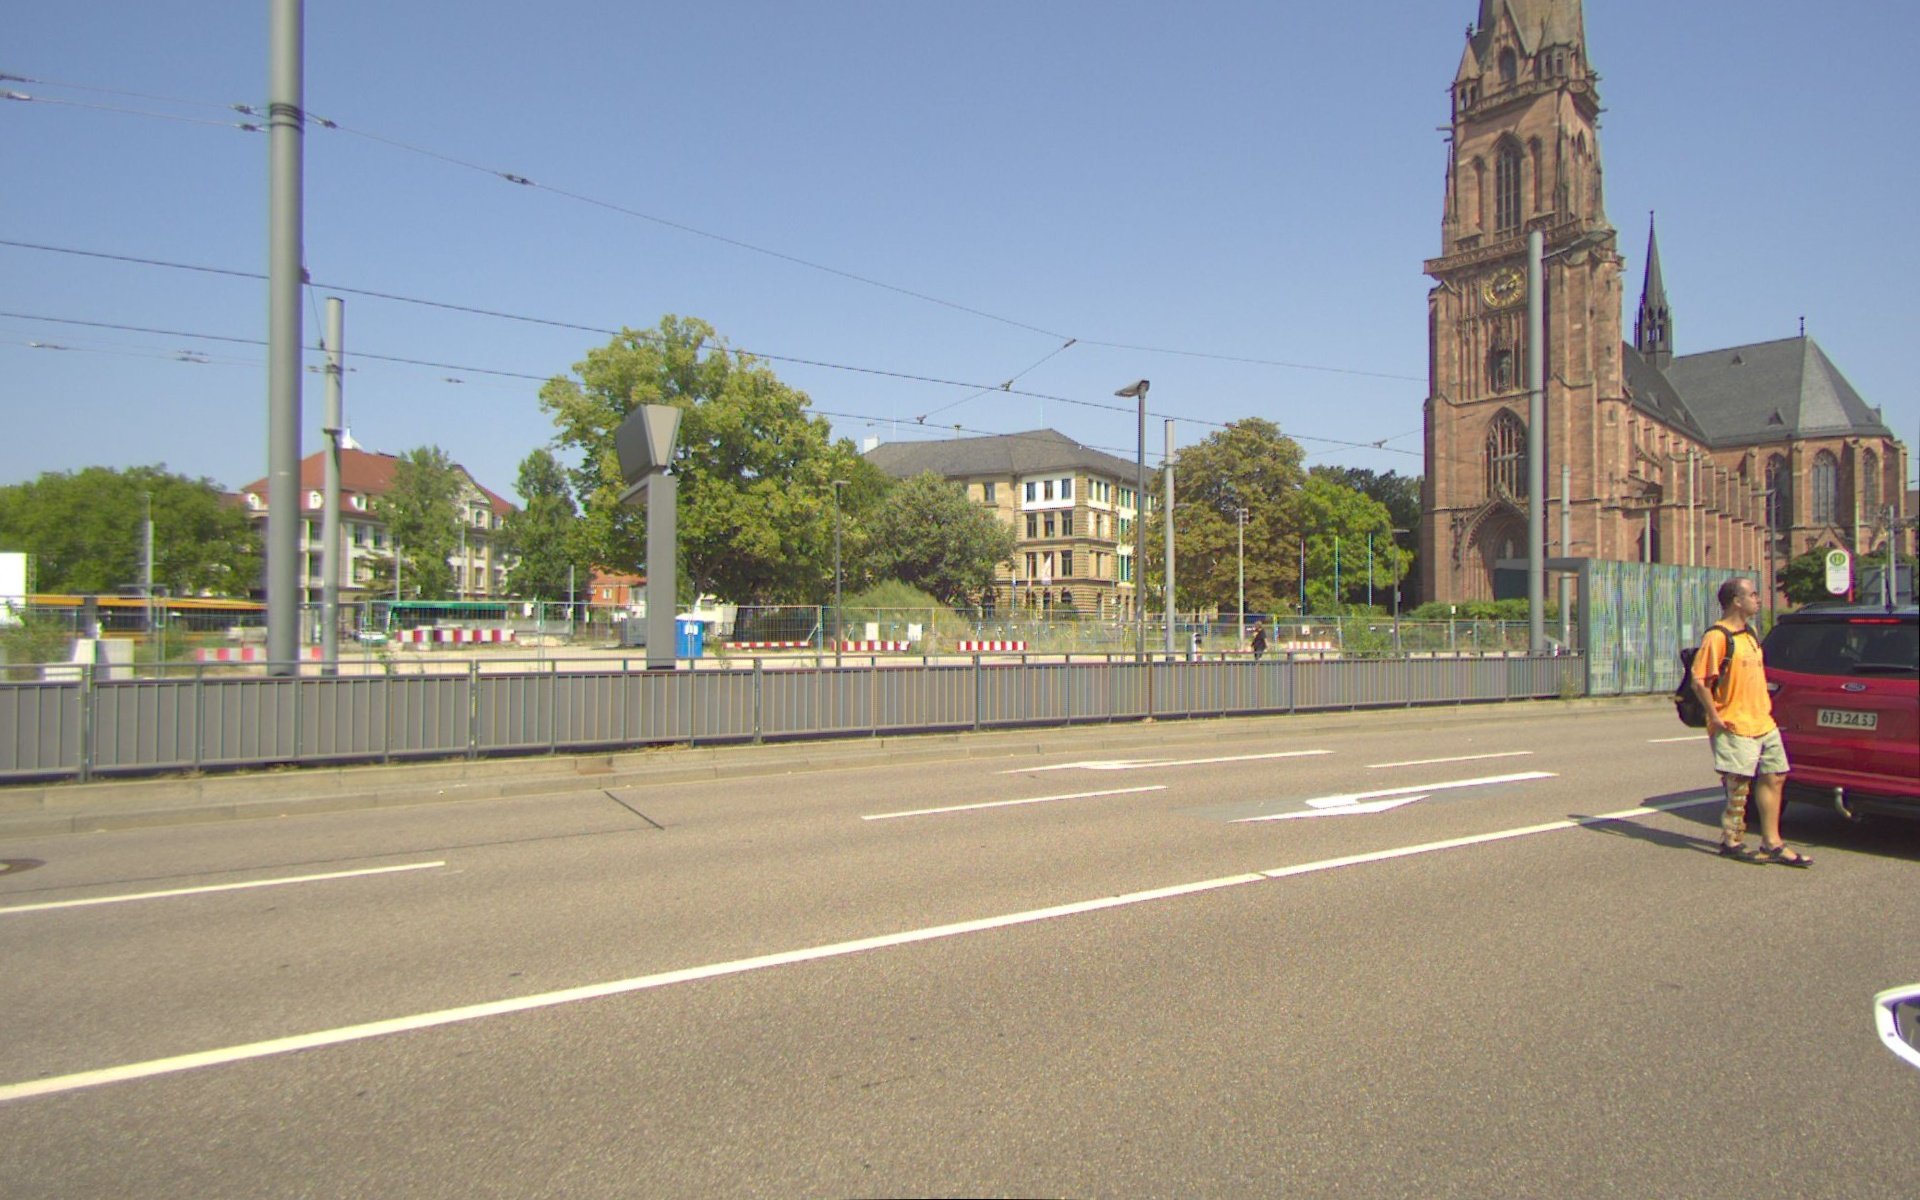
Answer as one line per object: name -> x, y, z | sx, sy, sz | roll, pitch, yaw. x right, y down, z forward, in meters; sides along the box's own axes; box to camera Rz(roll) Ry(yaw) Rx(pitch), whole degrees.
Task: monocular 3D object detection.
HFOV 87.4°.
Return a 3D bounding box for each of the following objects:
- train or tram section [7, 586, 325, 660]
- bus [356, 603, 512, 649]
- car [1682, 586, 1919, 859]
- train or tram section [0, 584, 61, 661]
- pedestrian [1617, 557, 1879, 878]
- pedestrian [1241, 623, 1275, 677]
train or tram section -> -48.859, 1.619, 63.340 | 3.982, 3.972, 16.682 | -2, -3, 14
bus -> -38.380, 1.818, 74.134 | 2.491, 3.072, 12.441 | -2, -1, 14
car -> 7.360, 0.814, 7.398 | 4.032, 1.639, 1.755 | 2, -2, -29
train or tram section -> -53.036, 0.999, 47.152 | 3.982, 3.972, 16.682 | -2, -3, 14
pedestrian -> 4.836, 0.671, 6.219 | 0.754, 1.775, 1.061 | 2, -2, -28
pedestrian -> 9.869, 1.645, 33.295 | 0.712, 1.775, 0.825 | 2, -2, -29
